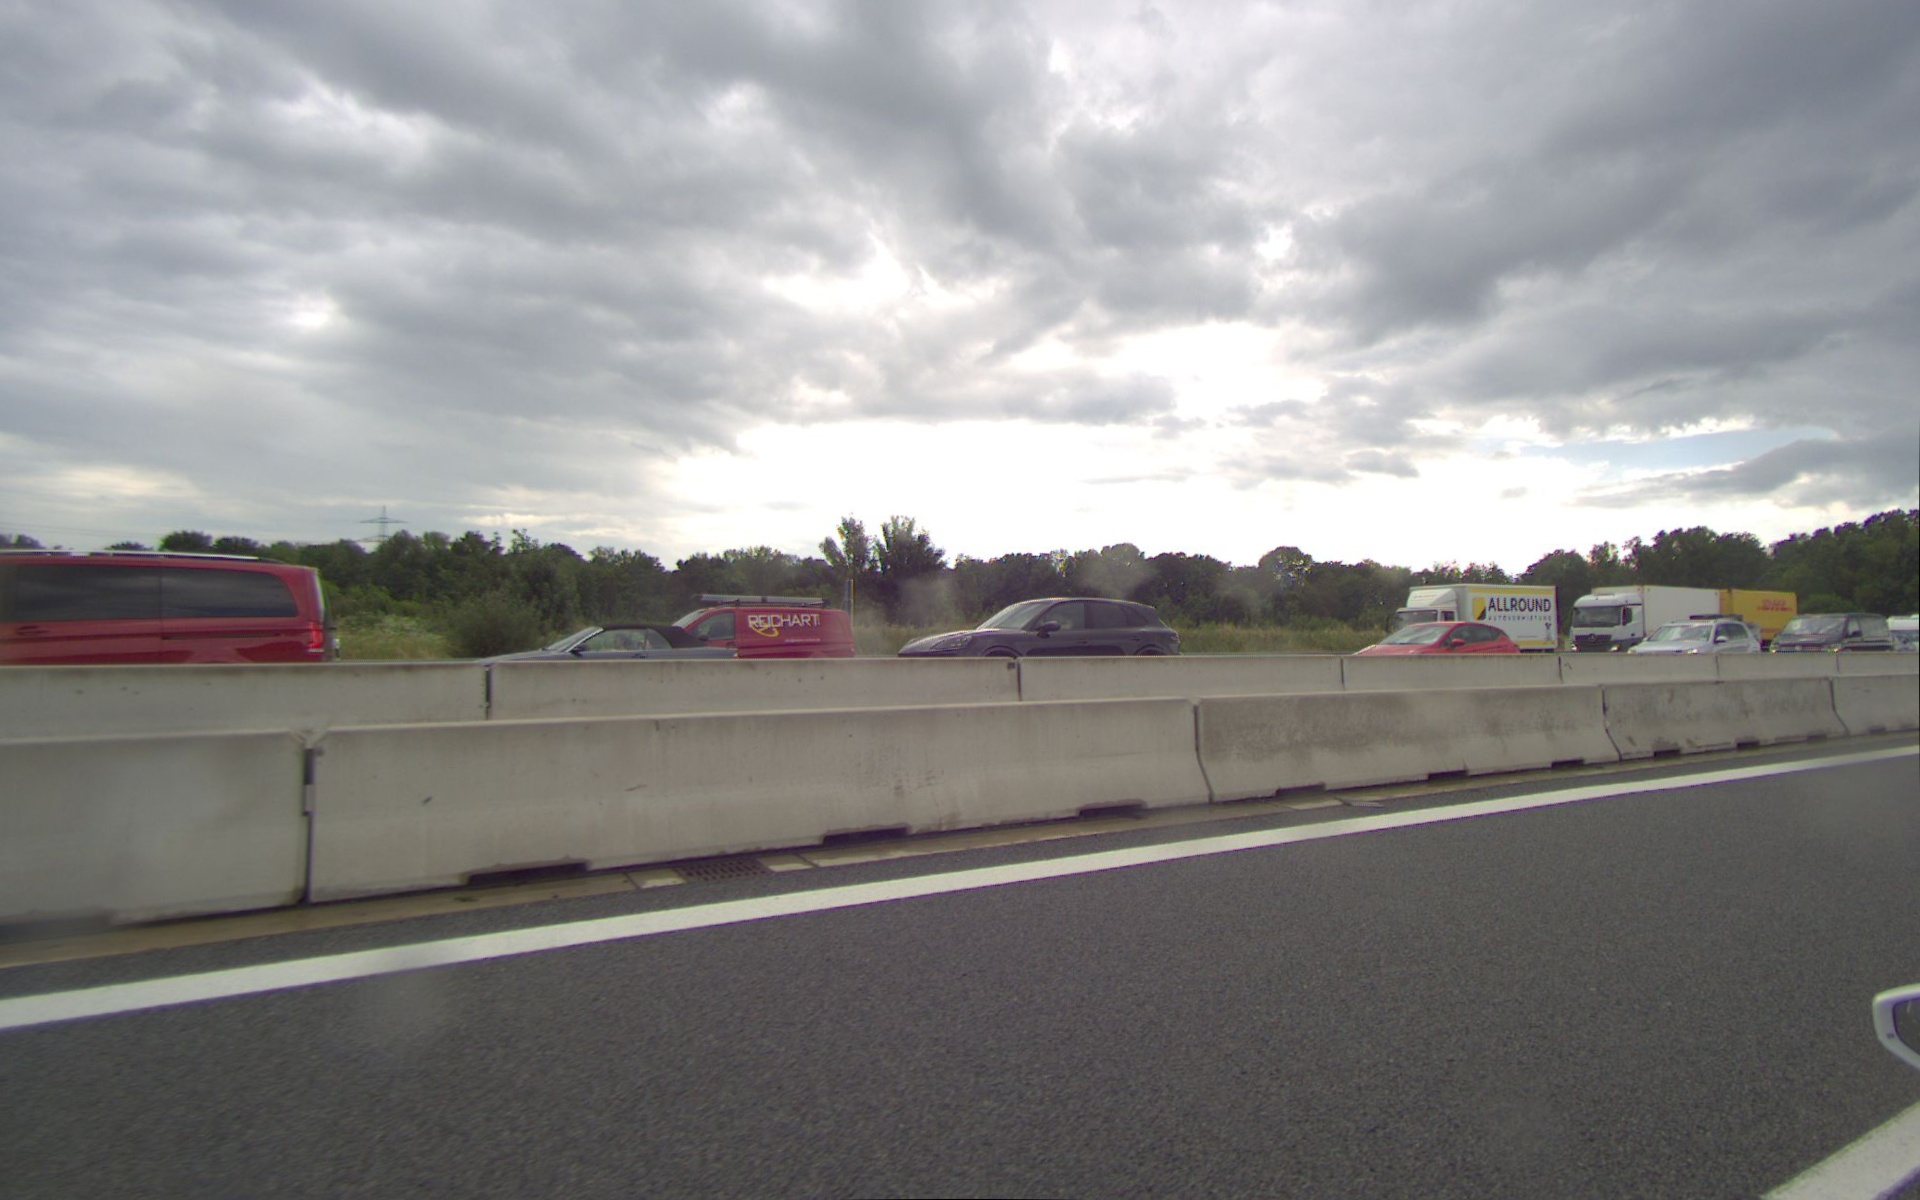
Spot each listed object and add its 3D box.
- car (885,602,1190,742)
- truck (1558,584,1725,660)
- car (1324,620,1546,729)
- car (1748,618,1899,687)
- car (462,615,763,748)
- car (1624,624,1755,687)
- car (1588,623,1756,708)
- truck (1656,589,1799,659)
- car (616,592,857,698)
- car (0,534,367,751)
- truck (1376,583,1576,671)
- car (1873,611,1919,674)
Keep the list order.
[{"bbox_3d":[1.261,1.034,15.826,4.450,1.929,1.984,1,-1,-30],"label":"car"},{"bbox_3d":[35.209,1.176,51.773,10.187,3.660,2.865,1,-1,-29],"label":"truck"},{"bbox_3d":[10.095,1.490,21.282,4.632,2.040,1.984,1,-1,-30],"label":"car"},{"bbox_3d":[27.875,1.642,32.365,5.691,2.040,1.984,1,-1,-31],"label":"car"},{"bbox_3d":[-5.742,1.248,16.712,4.422,1.924,1.984,1,-1,-30],"label":"car"},{"bbox_3d":[25.575,1.890,35.185,4.756,2.040,1.984,1,-1,-30],"label":"car"},{"bbox_3d":[18.726,1.659,26.389,4.373,2.040,1.984,1,-1,-30],"label":"car"},{"bbox_3d":[42.980,1.389,56.139,9.464,3.660,2.865,1,-1,-29],"label":"truck"},{"bbox_3d":[-4.715,0.909,21.396,4.632,2.040,1.984,1,-1,-30],"label":"car"},{"bbox_3d":[-9.296,0.406,10.399,5.355,2.040,1.984,1,-1,-30],"label":"car"},{"bbox_3d":[21.339,1.113,41.340,9.092,3.334,2.896,1,-1,-30],"label":"truck"},{"bbox_3d":[52.860,2.299,54.908,6.487,3.321,2.647,1,-1,-31],"label":"car"}]
